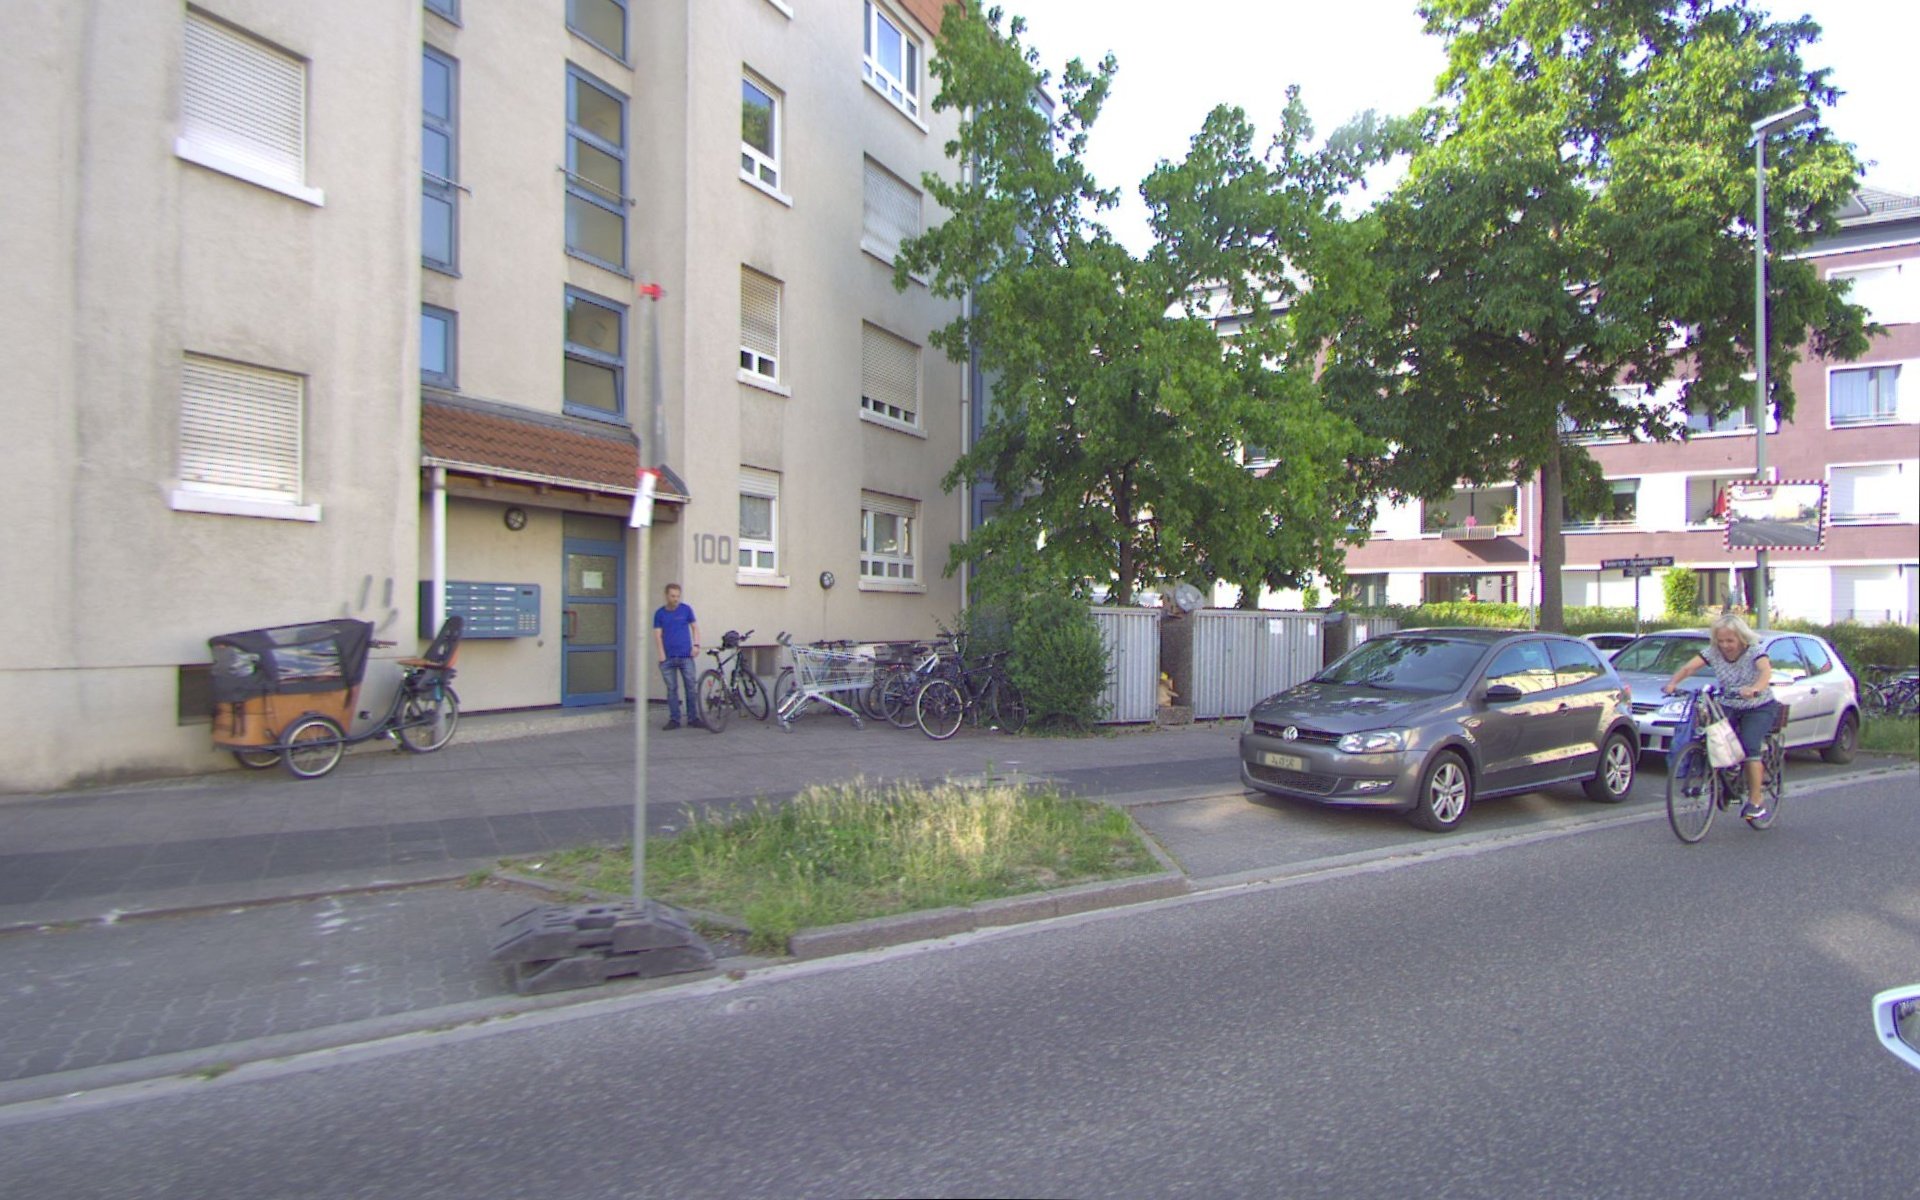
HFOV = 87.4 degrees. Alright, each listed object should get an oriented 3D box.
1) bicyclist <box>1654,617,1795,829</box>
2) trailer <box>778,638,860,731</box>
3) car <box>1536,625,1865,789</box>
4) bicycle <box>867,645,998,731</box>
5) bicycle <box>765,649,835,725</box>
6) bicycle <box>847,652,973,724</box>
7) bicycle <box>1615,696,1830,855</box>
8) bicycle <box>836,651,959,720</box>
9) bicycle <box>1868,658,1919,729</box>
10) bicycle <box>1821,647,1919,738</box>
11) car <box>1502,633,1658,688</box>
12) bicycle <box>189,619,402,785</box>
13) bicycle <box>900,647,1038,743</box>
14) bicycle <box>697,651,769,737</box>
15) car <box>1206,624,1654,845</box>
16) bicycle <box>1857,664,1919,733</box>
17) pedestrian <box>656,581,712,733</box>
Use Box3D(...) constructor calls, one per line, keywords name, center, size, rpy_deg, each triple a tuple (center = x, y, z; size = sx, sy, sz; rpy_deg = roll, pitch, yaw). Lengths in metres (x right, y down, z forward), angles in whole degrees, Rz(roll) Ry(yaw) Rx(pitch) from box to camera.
Box3D(name="bicyclist", center=(5.609, 0.859, 7.376), size=(0.741, 1.461, 0.588), rpy_deg=(1, -1, -29))
Box3D(name="trailer", center=(-1.701, 1.003, 12.073), size=(0.894, 1.070, 0.584), rpy_deg=(1, -1, -15))
Box3D(name="car", center=(8.367, 1.070, 11.266), size=(3.956, 1.521, 1.667), rpy_deg=(1, -1, -32))
Box3D(name="bicycle", center=(-0.327, 1.072, 12.613), size=(1.665, 1.007, 0.458), rpy_deg=(1, -1, -35))
Box3D(name="bicycle", center=(-2.046, 1.102, 12.981), size=(0.453, 0.893, 1.240), rpy_deg=(1, -1, 13))
Box3D(name="bicycle", center=(-0.636, 1.131, 13.170), size=(1.665, 0.863, 0.458), rpy_deg=(1, -1, -35))
Box3D(name="bicycle", center=(5.622, 1.233, 7.380), size=(1.789, 0.955, 0.605), rpy_deg=(1, -1, -30))
Box3D(name="bicycle", center=(-0.827, 1.143, 13.645), size=(1.665, 0.863, 0.458), rpy_deg=(1, -1, -35))
Box3D(name="bicycle", center=(15.054, 1.450, 15.397), size=(0.701, 1.055, 1.574), rpy_deg=(1, -1, -35))
Box3D(name="bicycle", center=(13.777, 1.333, 14.468), size=(0.701, 1.233, 1.987), rpy_deg=(1, -1, -35))
Box3D(name="car", center=(16.203, 1.544, 26.451), size=(3.395, 1.305, 1.662), rpy_deg=(0, -1, 29))
Box3D(name="bicycle", center=(-5.541, 0.799, 8.427), size=(0.874, 1.266, 1.209), rpy_deg=(0, -1, 29))
Box3D(name="bicycle", center=(0.124, 1.084, 11.803), size=(1.665, 1.036, 0.458), rpy_deg=(1, -1, -35))
Box3D(name="bicycle", center=(-2.690, 1.088, 11.999), size=(0.454, 0.863, 1.454), rpy_deg=(1, 1, 3))
Box3D(name="car", center=(3.979, 0.950, 8.356), size=(3.760, 1.439, 1.565), rpy_deg=(1, -1, -31))
Box3D(name="bicycle", center=(14.681, 1.475, 14.624), size=(0.701, 0.983, 2.325), rpy_deg=(1, -1, -35))
Box3D(name="pedestrian", center=(-3.270, 0.661, 11.891), size=(0.519, 1.746, 0.441), rpy_deg=(1, 1, -30))
